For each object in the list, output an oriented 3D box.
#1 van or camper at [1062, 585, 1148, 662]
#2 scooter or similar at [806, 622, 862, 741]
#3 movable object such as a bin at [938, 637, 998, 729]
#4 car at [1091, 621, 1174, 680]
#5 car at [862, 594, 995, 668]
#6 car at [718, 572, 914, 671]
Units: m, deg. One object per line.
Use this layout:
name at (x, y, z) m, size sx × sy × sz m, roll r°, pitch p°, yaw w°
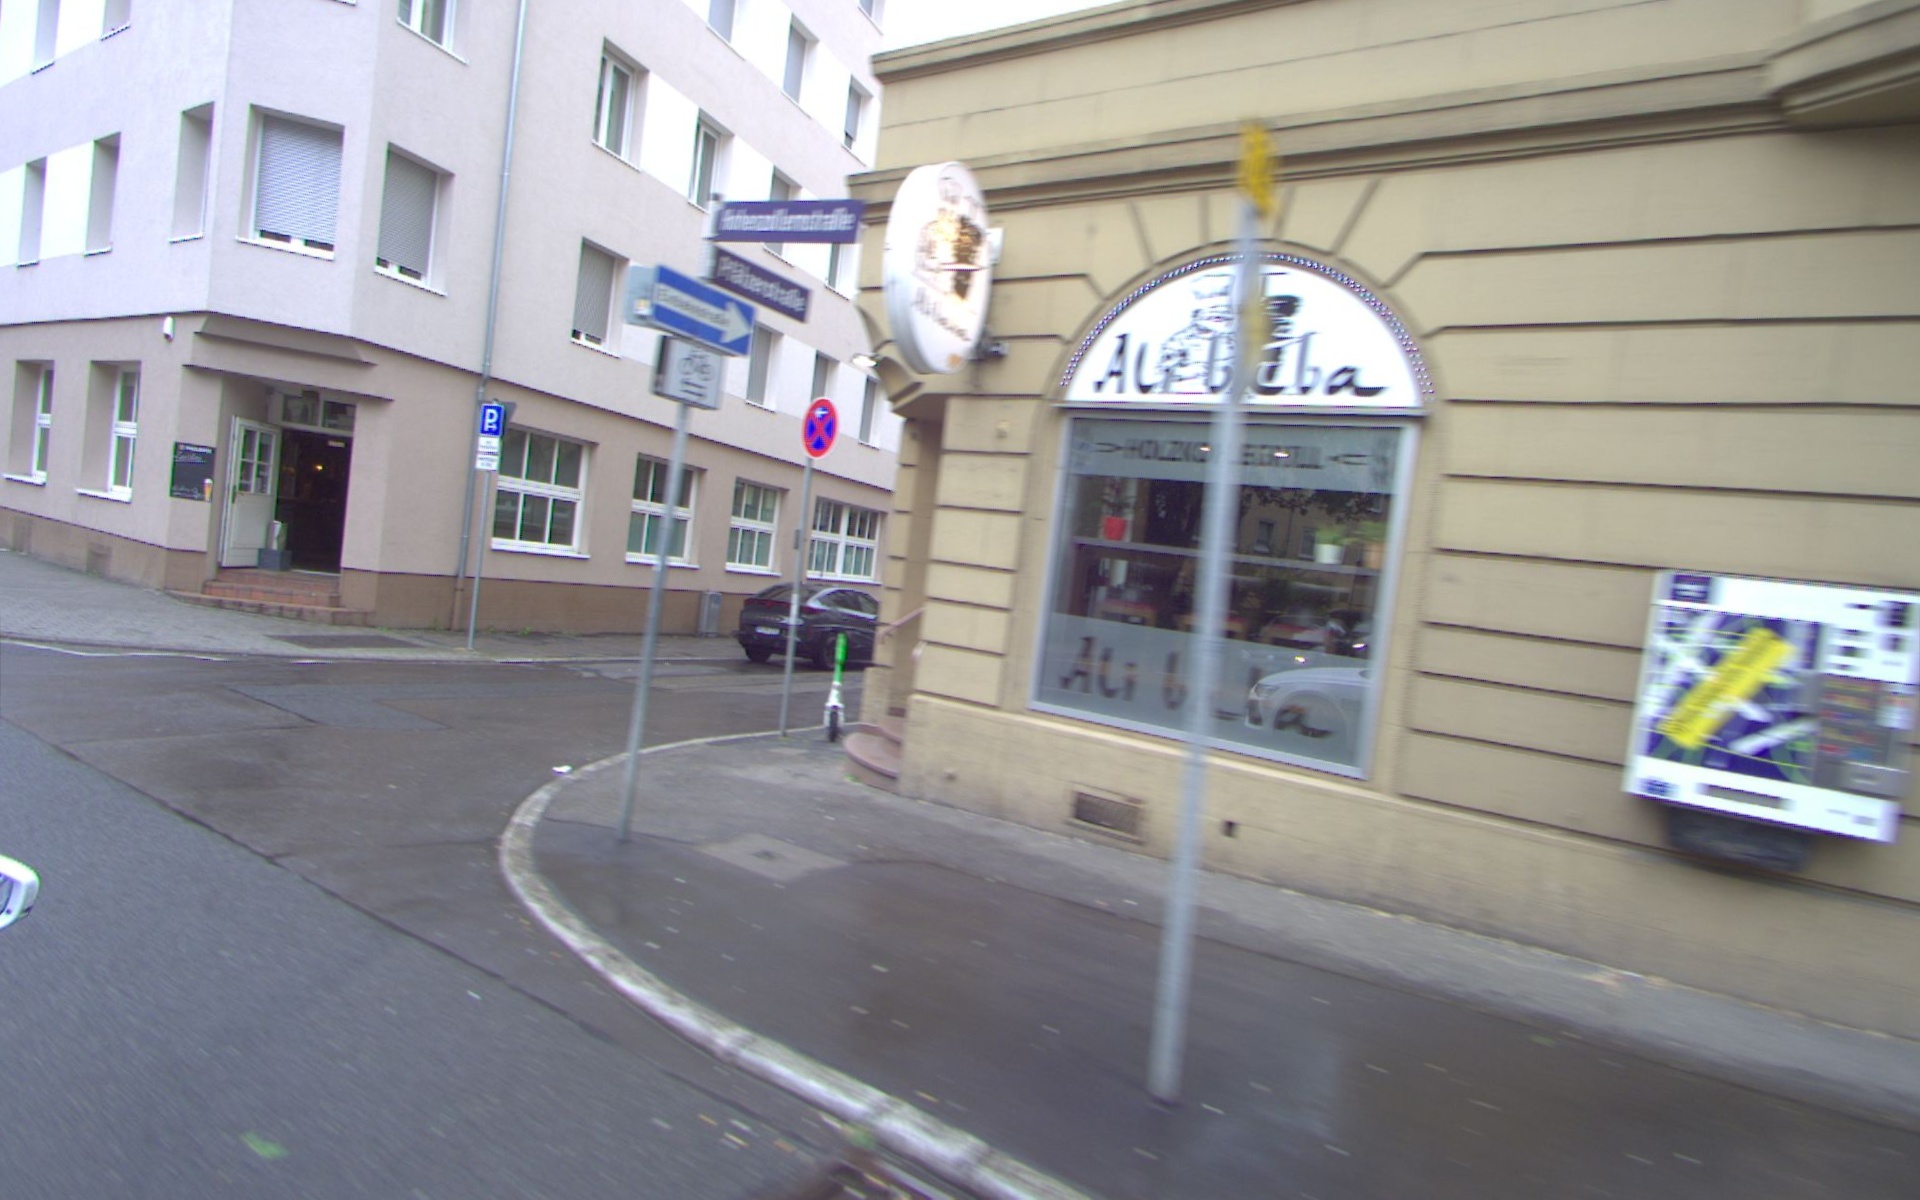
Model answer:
van or camper at (5.851, 1.020, 39.932) m, size 1.964 × 2.519 × 4.967 m, roll 6°, pitch -3°, yaw 23°
scooter or similar at (-1.340, 0.823, 10.568) m, size 0.458 × 1.142 × 1.376 m, roll 3°, pitch -1°, yaw -10°
movable object such as a bin at (0.101, 1.028, 12.507) m, size 0.516 × 1.057 × 0.343 m, roll 8°, pitch -1°, yaw 33°
car at (5.639, 1.647, 32.541) m, size 1.705 × 1.591 × 3.999 m, roll 6°, pitch -1°, yaw 22°
car at (-0.684, 0.801, 24.927) m, size 1.705 × 1.510 × 3.999 m, roll 6°, pitch -1°, yaw 22°
car at (-2.730, 0.476, 20.014) m, size 2.010 × 1.571 × 3.999 m, roll 6°, pitch -1°, yaw 22°
